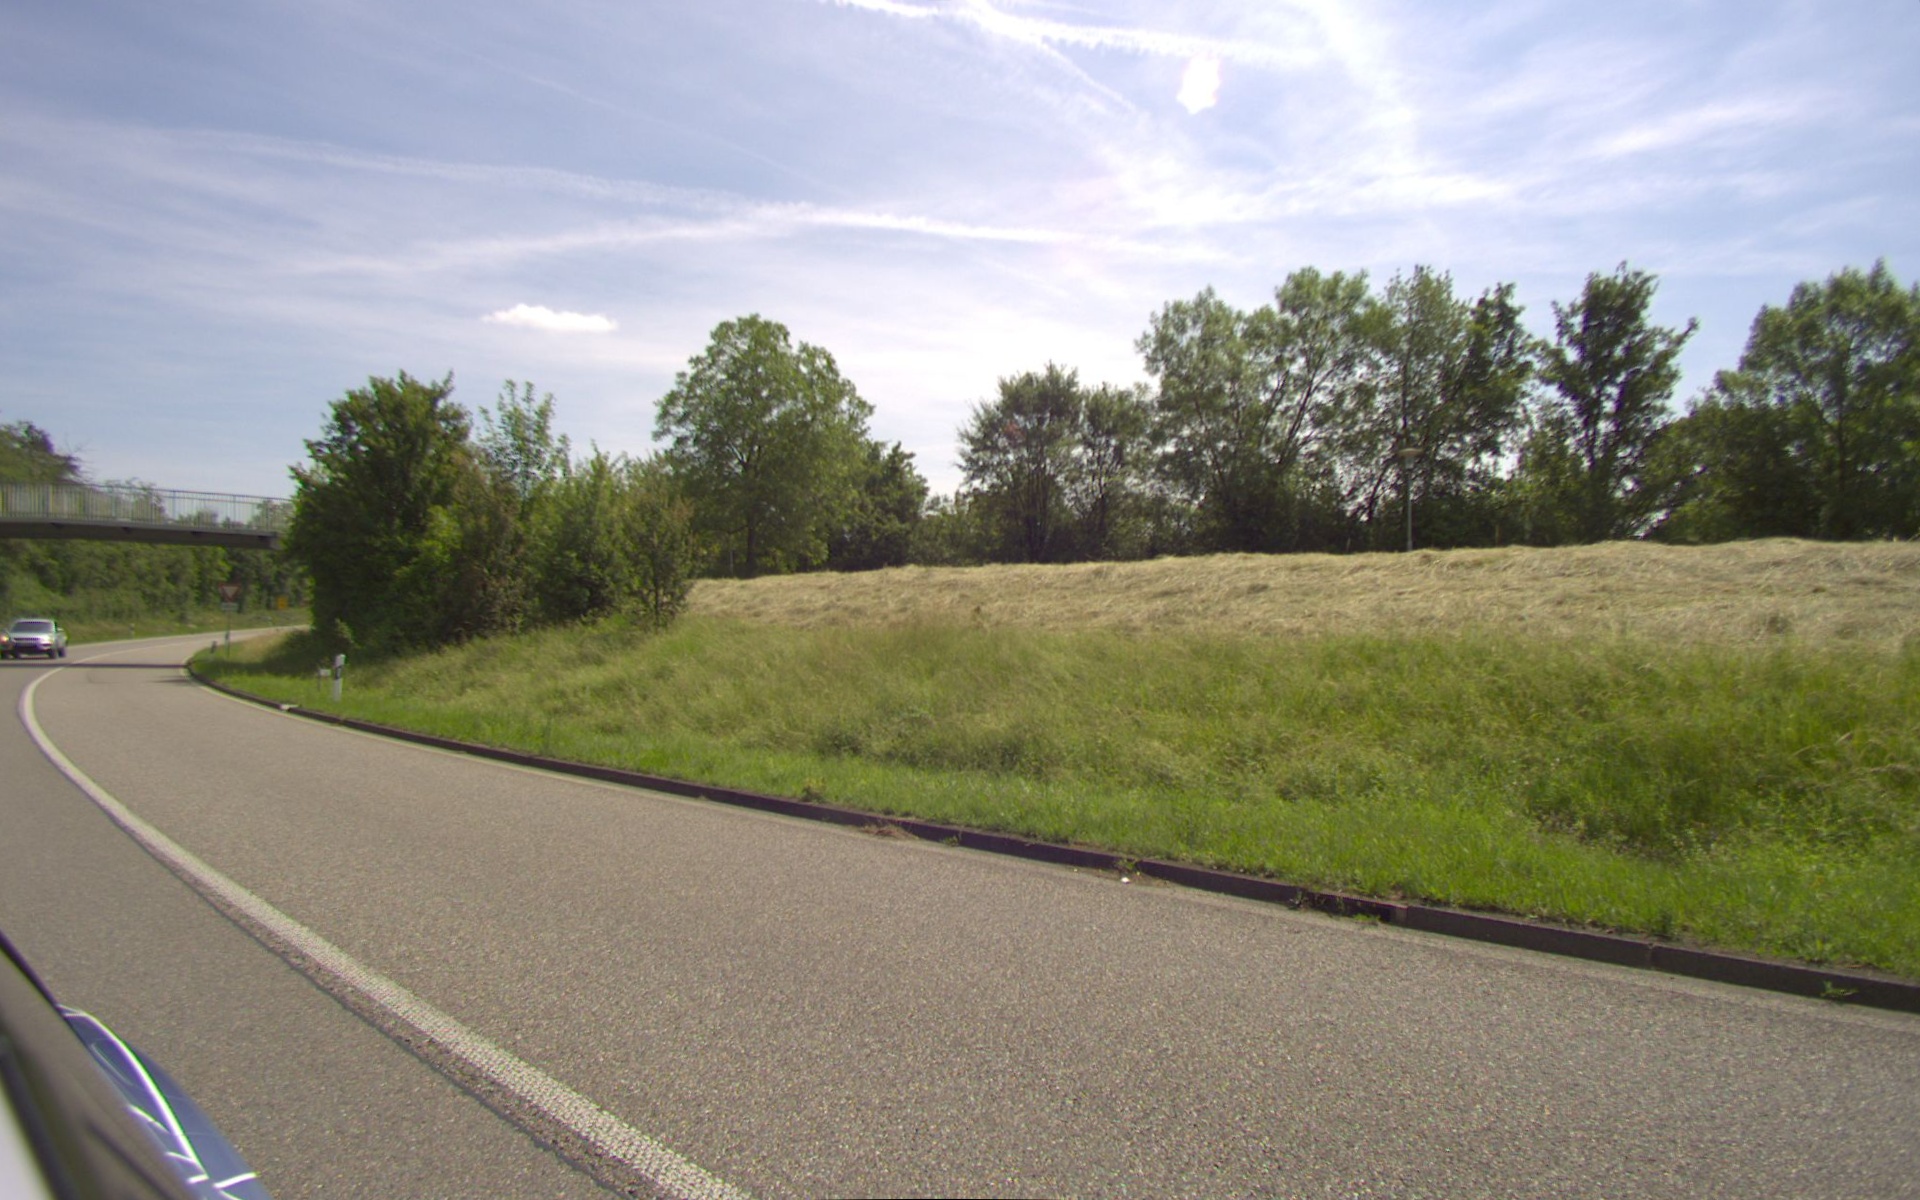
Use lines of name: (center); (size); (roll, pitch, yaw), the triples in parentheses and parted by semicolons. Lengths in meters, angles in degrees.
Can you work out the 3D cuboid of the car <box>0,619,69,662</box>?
car: (-39.709, 1.685, 43.240); (1.819, 1.721, 4.100); (1, -1, -33)
